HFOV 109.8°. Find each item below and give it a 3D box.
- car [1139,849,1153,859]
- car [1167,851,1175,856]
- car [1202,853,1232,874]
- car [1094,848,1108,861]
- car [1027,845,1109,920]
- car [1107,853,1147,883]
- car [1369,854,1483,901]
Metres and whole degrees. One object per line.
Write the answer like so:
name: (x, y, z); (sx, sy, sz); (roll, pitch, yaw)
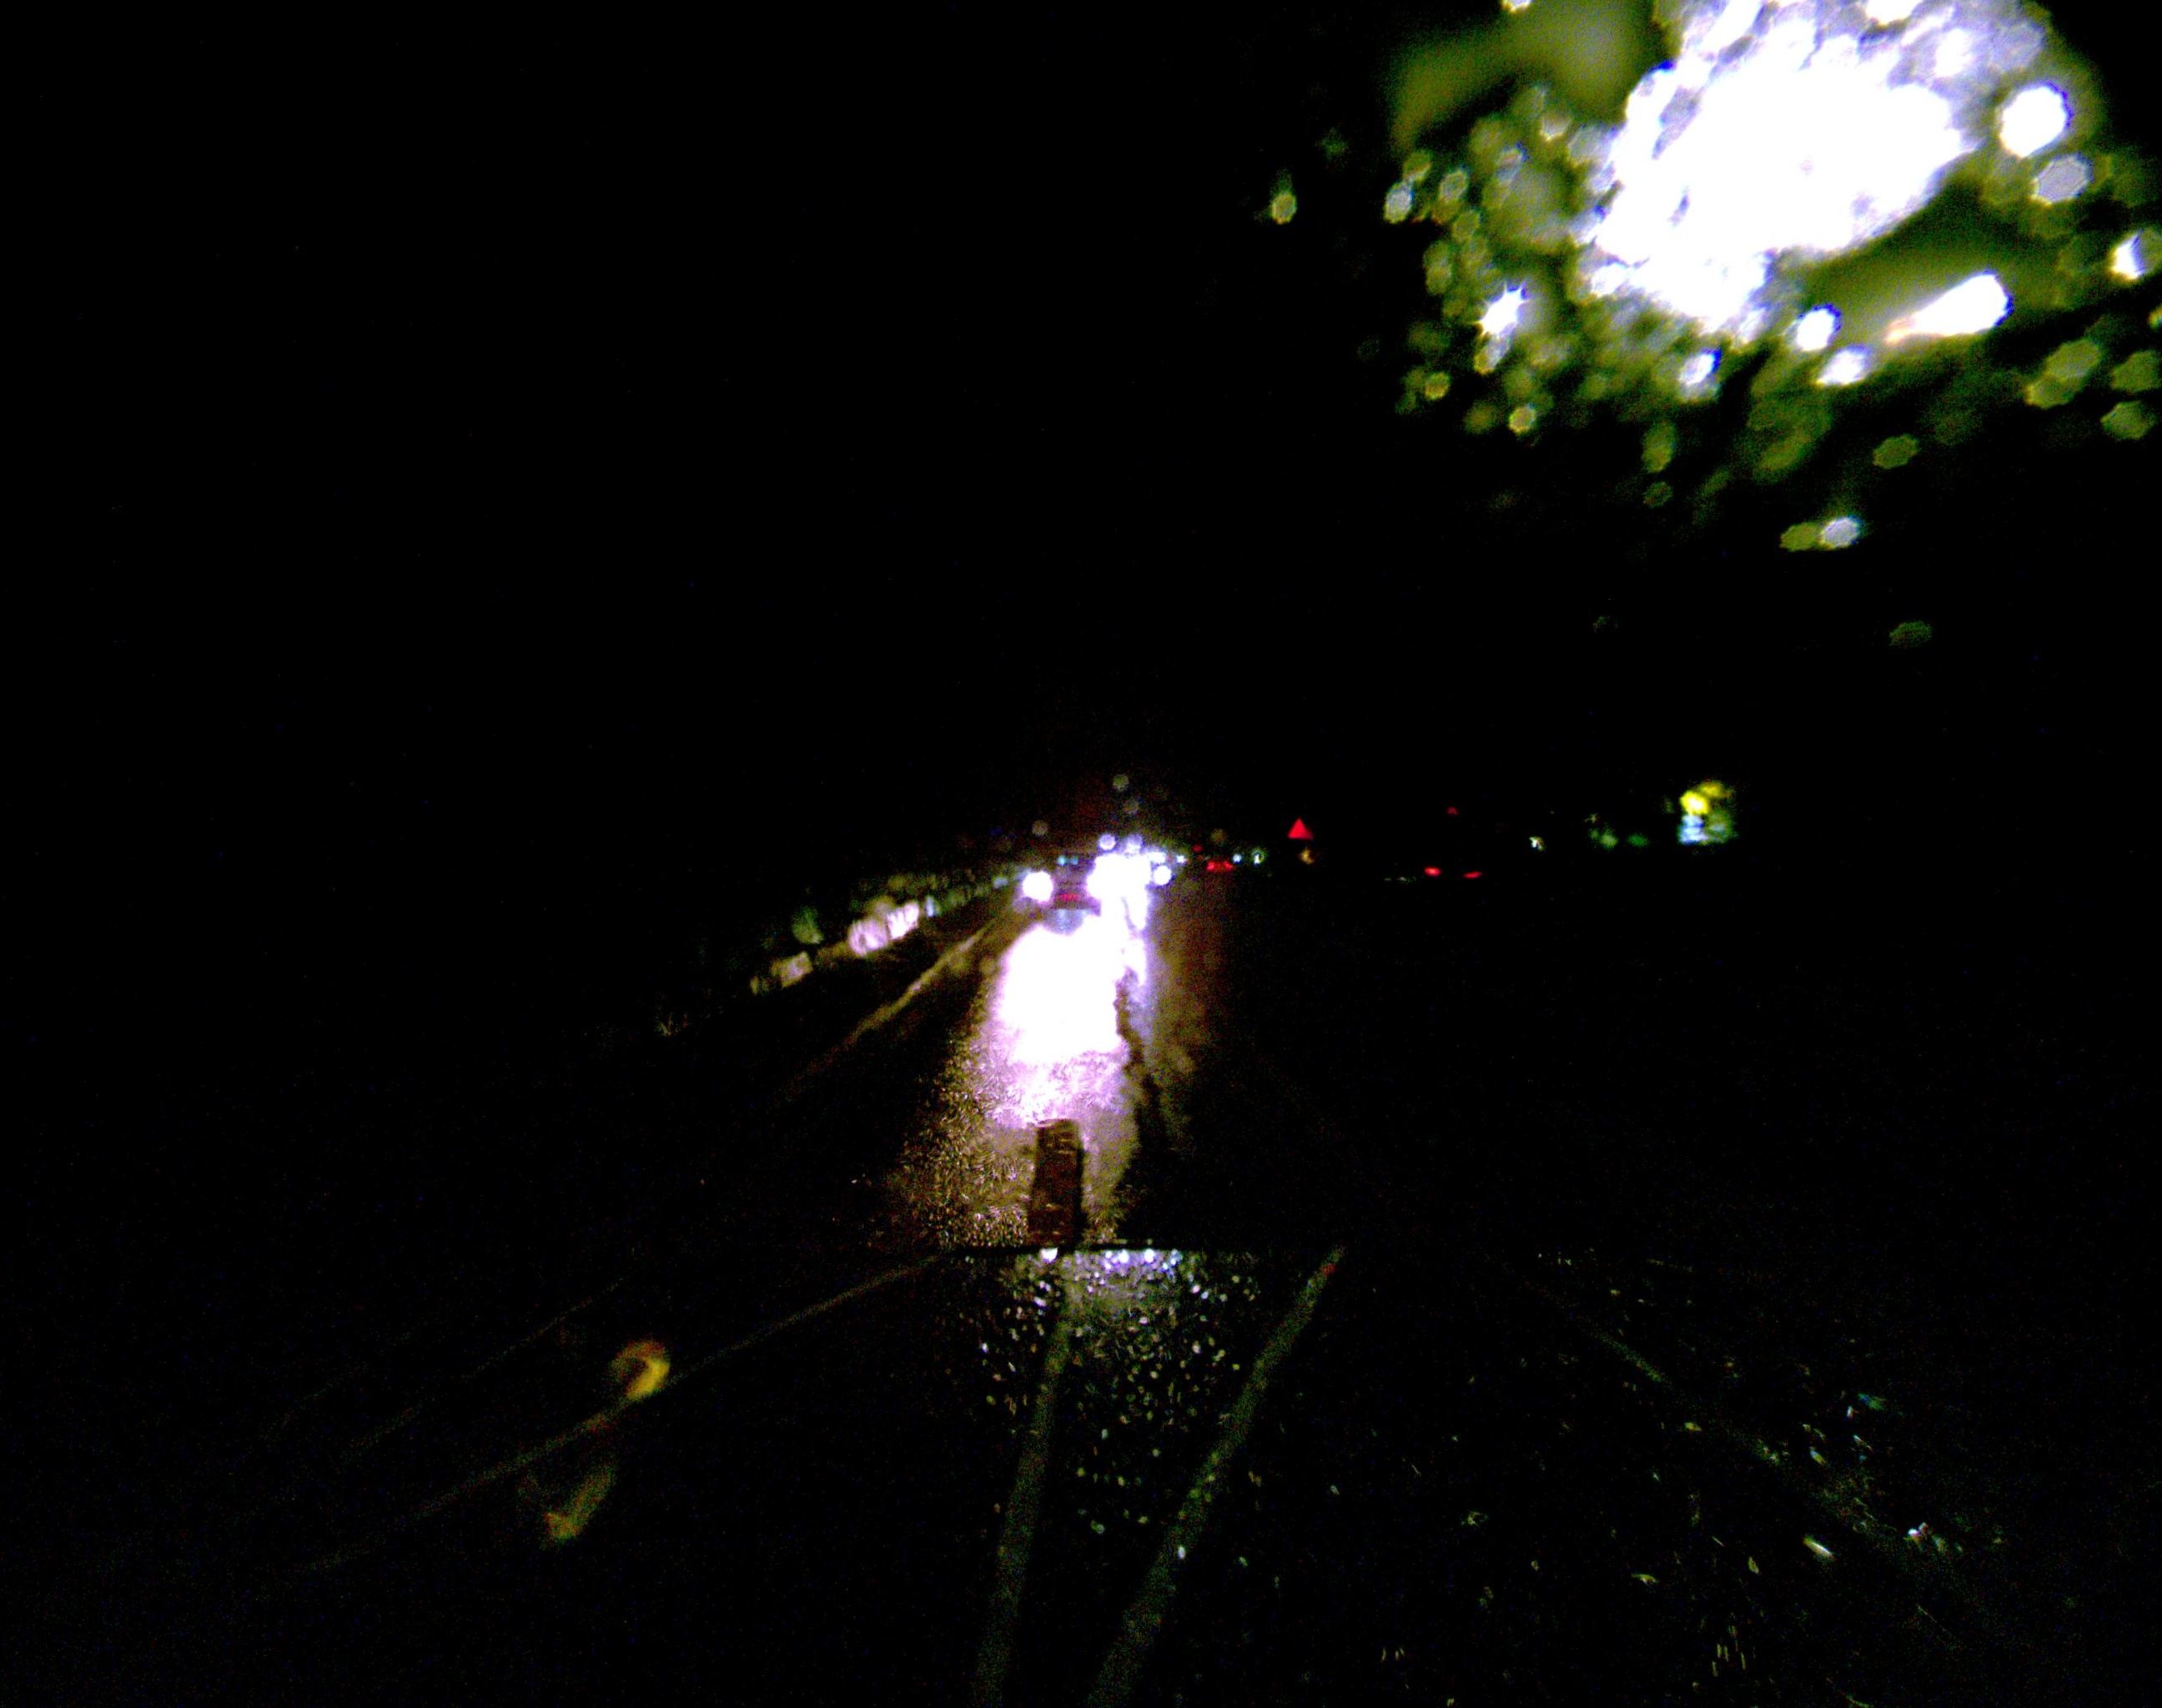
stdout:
car: (12.062, -0.072, 140.357); (2.092, 1.691, 4.580); (-1, 1, 10)
car: (25.622, -0.183, 217.087); (1.806, 1.416, 4.208); (-1, 1, 12)
car: (11.901, 0.787, 66.798); (1.712, 1.644, 4.506); (-1, 1, -1)
car: (3.419, 0.024, 129.179); (1.998, 2.002, 4.000); (-1, 1, 5)
car: (-0.243, 0.688, 20.807); (1.877, 1.825, 4.206); (-1, 0, 4)
car: (2.671, 0.785, 45.235); (1.914, 1.694, 4.938); (-1, 0, -2)
car: (12.830, 0.795, 28.641); (1.751, 1.495, 4.889); (-2, 1, -5)
